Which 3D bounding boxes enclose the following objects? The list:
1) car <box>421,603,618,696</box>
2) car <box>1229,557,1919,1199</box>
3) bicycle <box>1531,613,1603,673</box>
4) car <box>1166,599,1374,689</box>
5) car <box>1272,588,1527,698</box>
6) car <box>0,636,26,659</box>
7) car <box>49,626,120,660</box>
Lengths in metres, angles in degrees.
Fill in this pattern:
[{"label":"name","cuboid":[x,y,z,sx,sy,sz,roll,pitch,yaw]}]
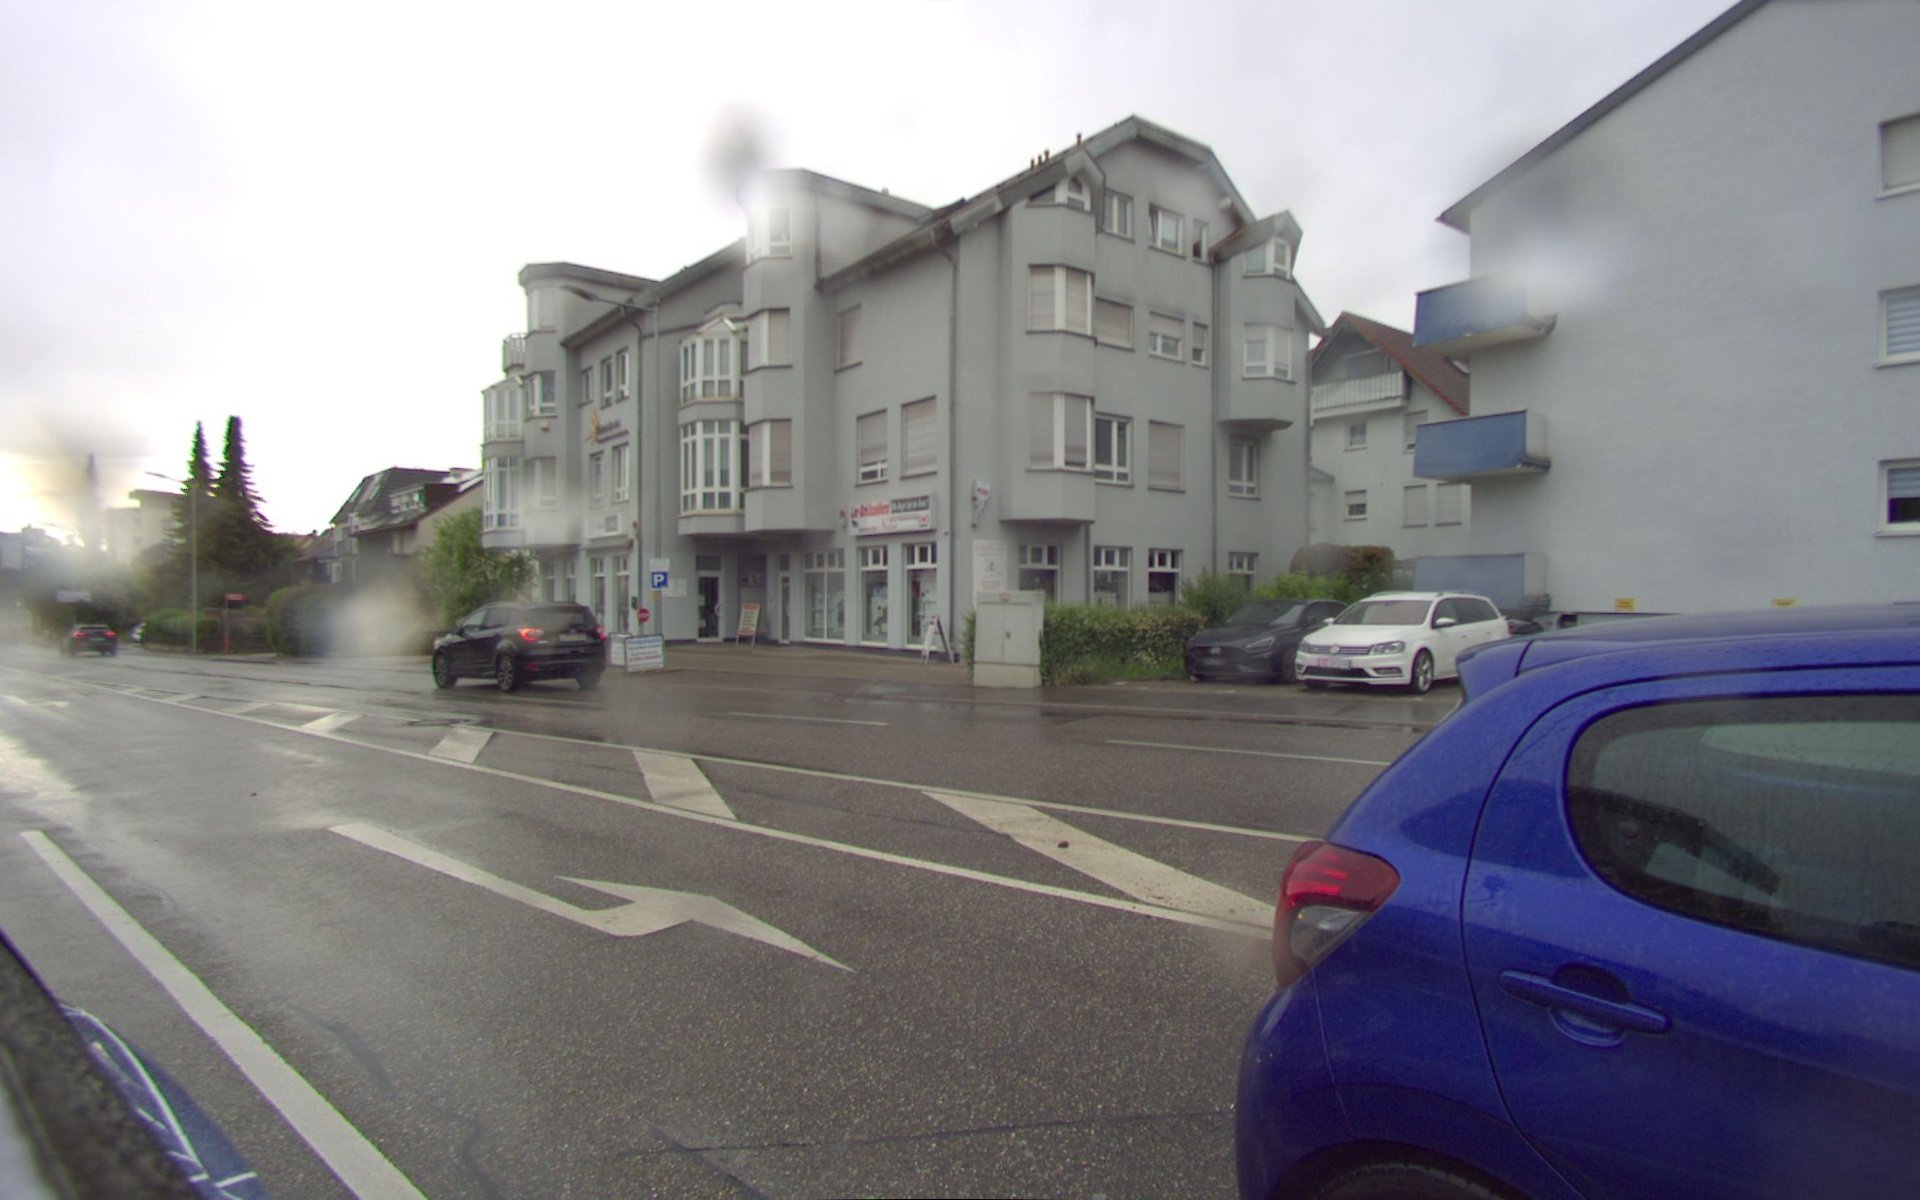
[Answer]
[{"label":"car","cuboid":[-8.645,0.918,19.724,4.180,1.609,1.860,-2,-2,39]},{"label":"car","cuboid":[2.229,0.632,1.208,3.362,1.423,1.489,-2,-1,41]},{"label":"bicycle","cuboid":[11.137,0.788,18.572,1.065,1.061,0.343,-2,-1,41]},{"label":"car","cuboid":[5.487,0.685,17.661,1.851,1.366,3.941,-1,0,45]},{"label":"car","cuboid":[6.976,0.600,15.816,4.685,1.471,1.883,0,-2,-42]},{"label":"car","cuboid":[-71.678,3.539,75.882,4.537,1.637,1.973,-2,0,41]},{"label":"car","cuboid":[-43.149,2.103,49.857,3.995,1.523,1.948,-1,0,39]}]
